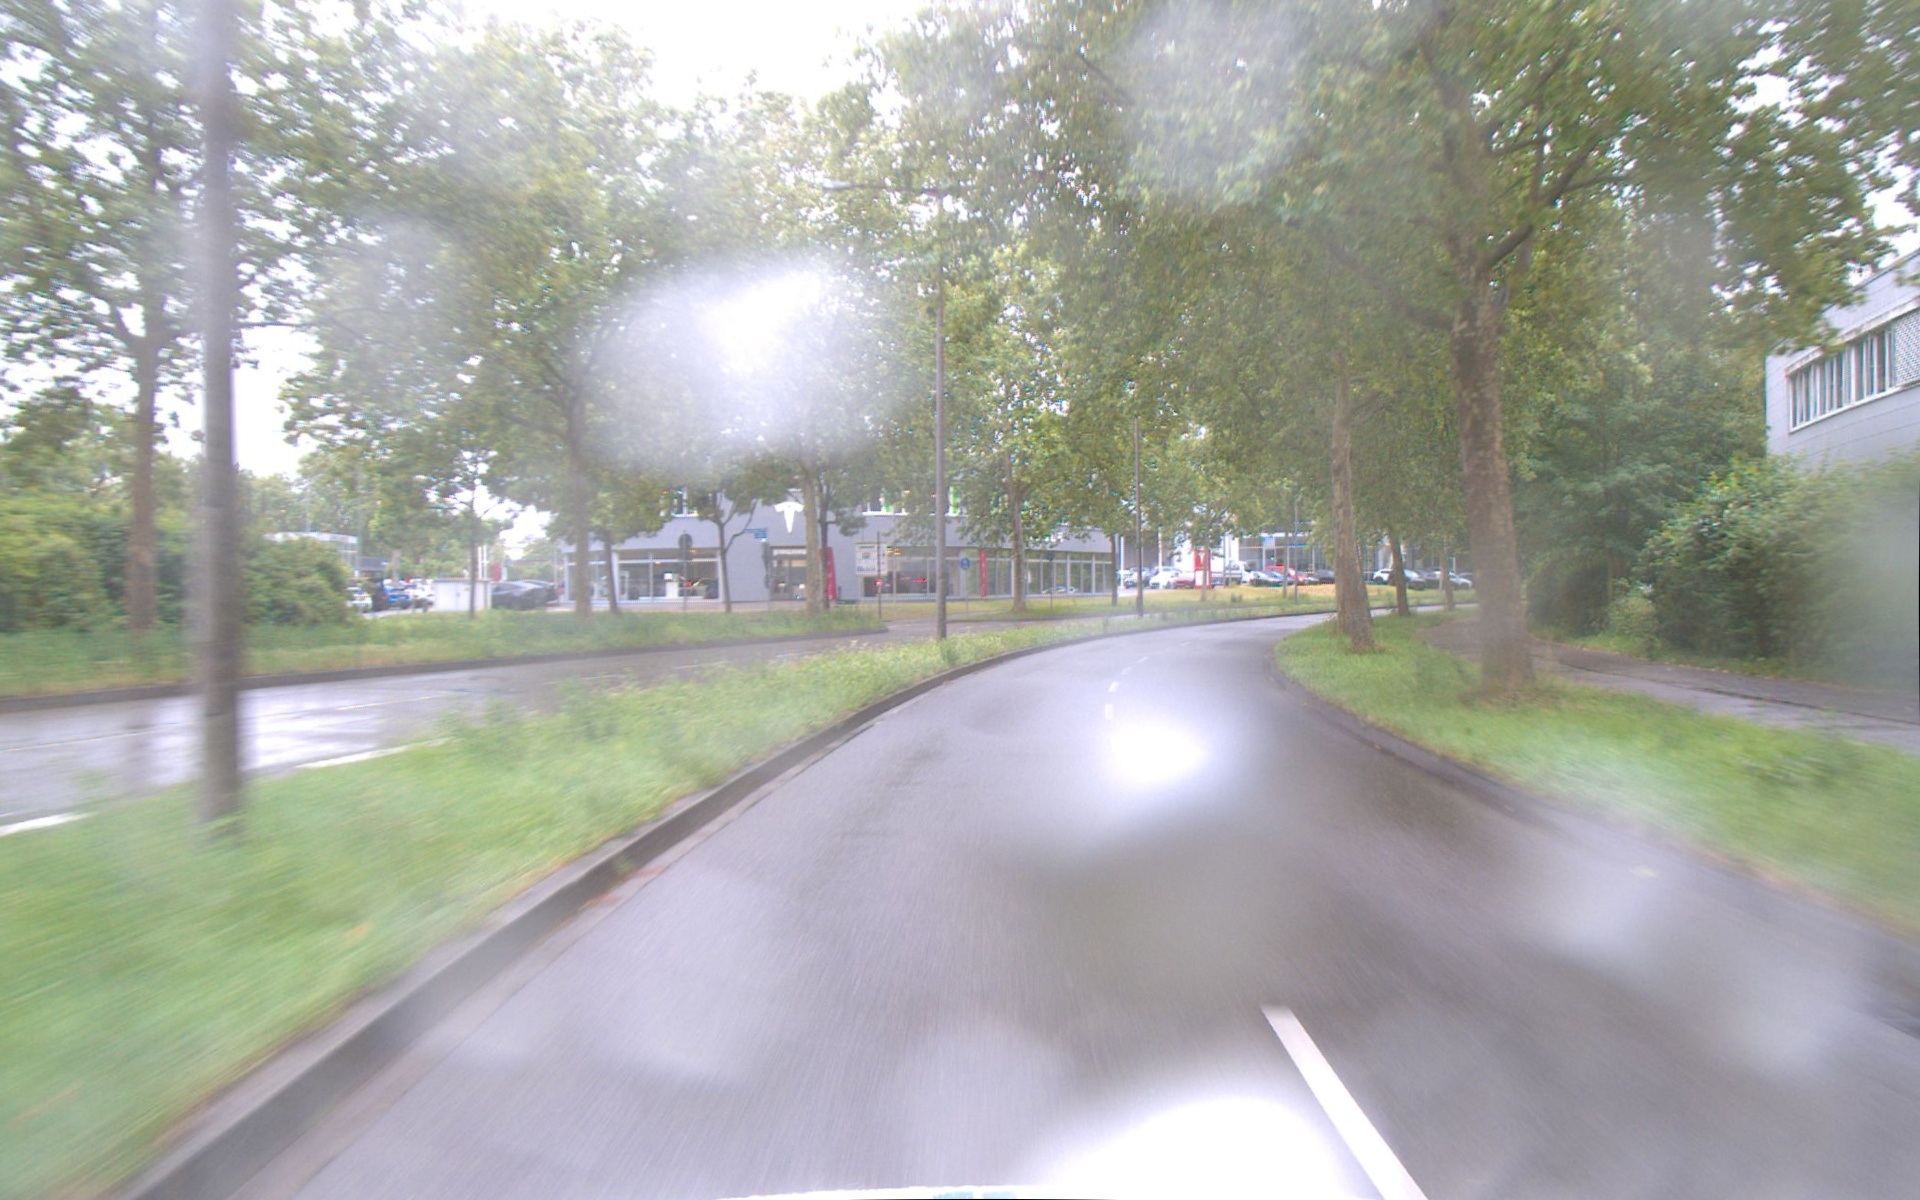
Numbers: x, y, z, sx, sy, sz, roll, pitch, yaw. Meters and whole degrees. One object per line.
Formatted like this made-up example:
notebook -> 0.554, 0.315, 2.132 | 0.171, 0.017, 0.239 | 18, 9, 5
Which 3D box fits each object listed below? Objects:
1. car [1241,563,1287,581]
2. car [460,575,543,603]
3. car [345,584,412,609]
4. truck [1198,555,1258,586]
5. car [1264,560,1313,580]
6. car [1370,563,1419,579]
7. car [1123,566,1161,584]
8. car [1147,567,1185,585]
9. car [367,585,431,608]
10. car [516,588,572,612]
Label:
car -> 26.478, -2.413, 144.131 | 3.468, 1.349, 1.760 | 4, 5, 38
car -> -25.205, -0.595, 91.031 | 4.104, 1.520, 1.599 | 0, 1, 2
car -> -36.898, -0.218, 104.991 | 3.682, 1.520, 1.599 | 0, 1, 2
truck -> 22.890, -2.528, 141.113 | 2.212, 2.384, 6.166 | 4, 5, 38
car -> 29.433, -2.675, 148.158 | 3.933, 1.583, 1.839 | 4, 5, 38
car -> 42.983, -2.869, 163.728 | 4.348, 1.499, 1.913 | 1, 2, 36
car -> 16.112, -2.185, 146.077 | 1.731, 1.421, 4.148 | 2, 4, 32
car -> 18.055, -2.142, 144.816 | 1.731, 1.421, 4.148 | 2, 4, 32
car -> -37.598, -0.227, 110.902 | 3.682, 1.520, 1.599 | 0, 1, 2
car -> -27.239, 0.007, 108.439 | 3.237, 1.520, 1.599 | 0, 1, 2
